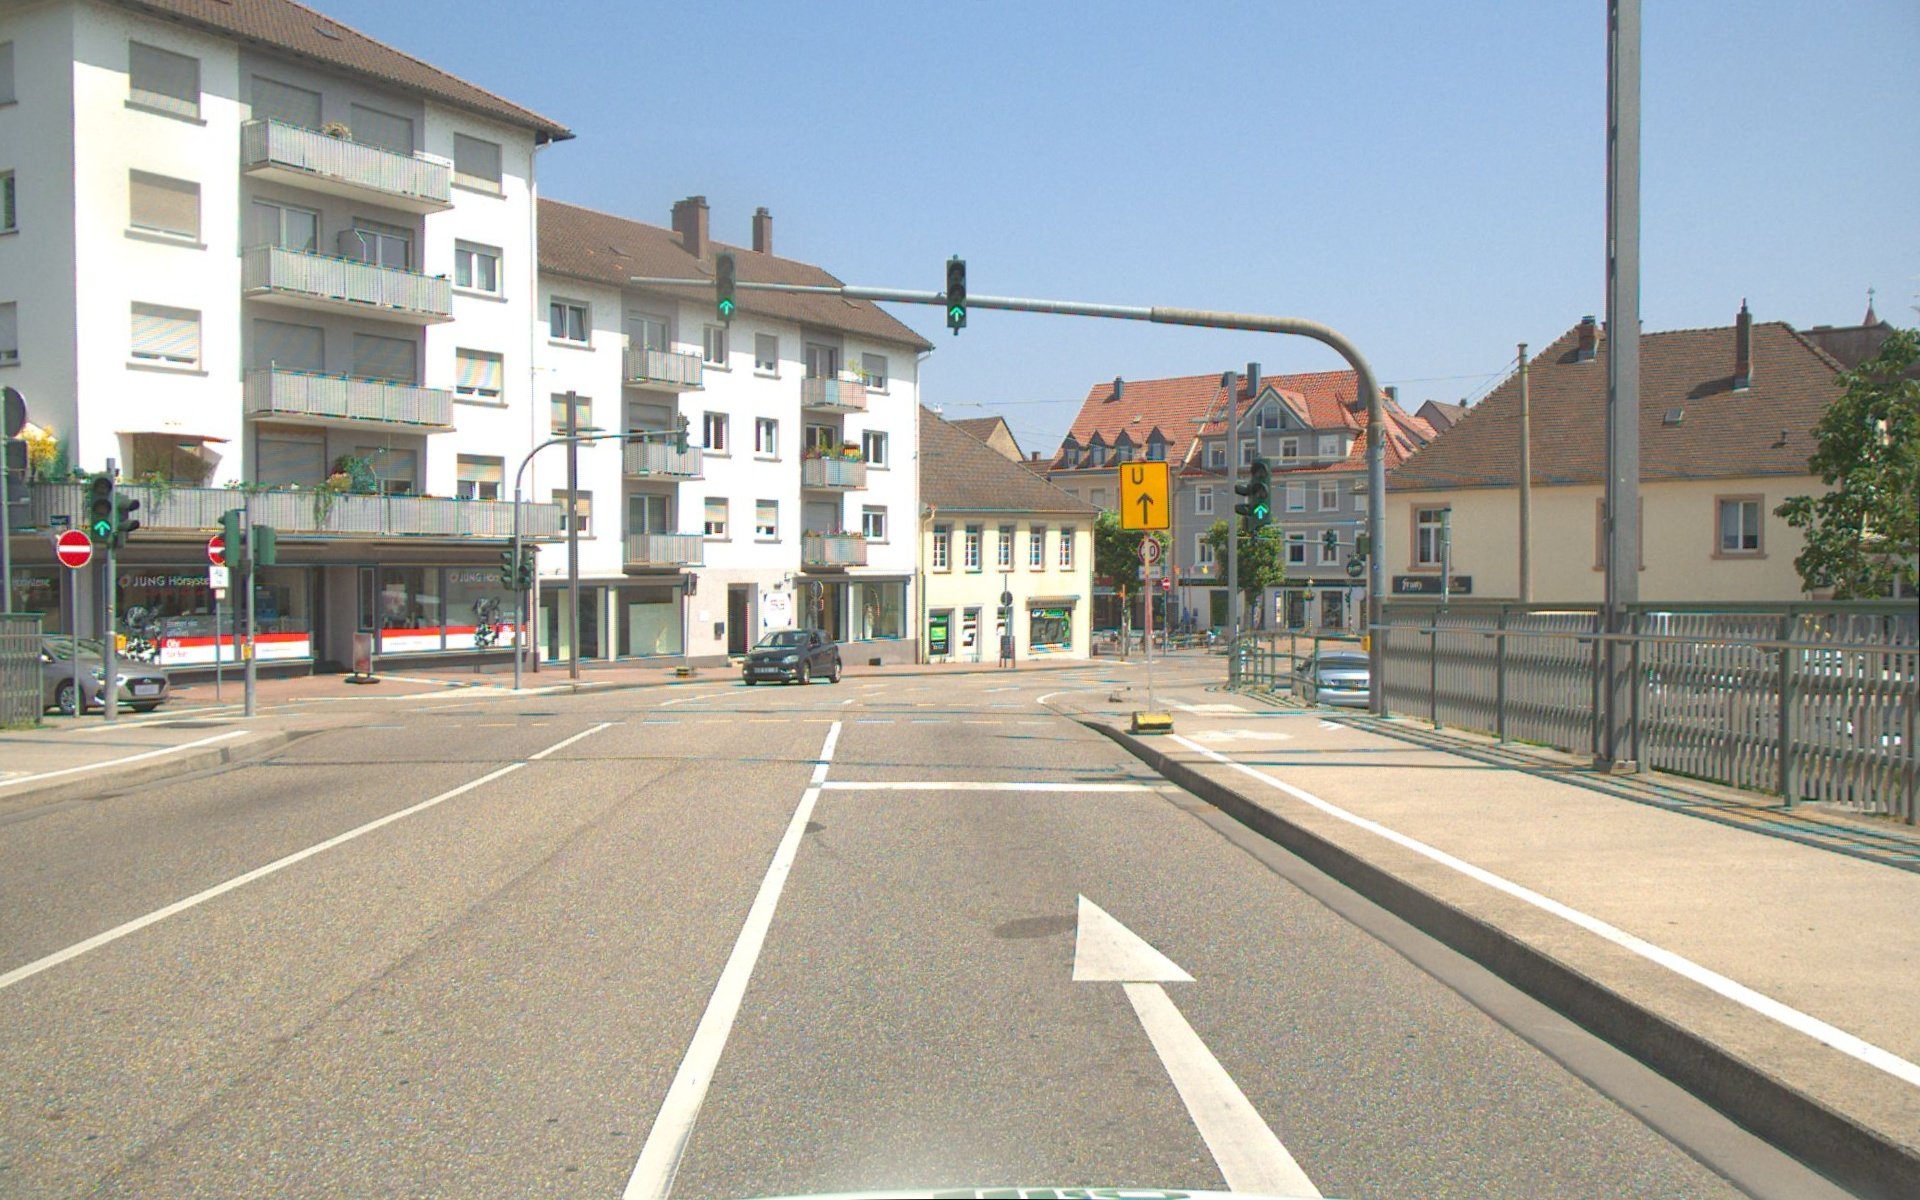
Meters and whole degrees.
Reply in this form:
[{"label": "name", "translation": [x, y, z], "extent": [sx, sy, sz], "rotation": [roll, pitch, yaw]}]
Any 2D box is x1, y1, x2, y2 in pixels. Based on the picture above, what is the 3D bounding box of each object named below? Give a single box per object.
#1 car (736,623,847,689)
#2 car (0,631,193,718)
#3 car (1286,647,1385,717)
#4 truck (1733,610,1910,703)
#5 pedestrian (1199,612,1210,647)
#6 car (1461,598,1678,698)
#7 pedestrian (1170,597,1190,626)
[{"label": "car", "translation": [-4.296, 1.416, 42.772], "extent": [1.640, 1.514, 3.958], "rotation": [-2, 0, 13]}, {"label": "car", "translation": [-16.525, 1.367, 30.448], "extent": [4.278, 1.445, 1.703], "rotation": [-2, 0, 16]}, {"label": "car", "translation": [8.994, 1.928, 39.880], "extent": [1.715, 1.497, 4.255], "rotation": [1, -1, 4]}, {"label": "truck", "translation": [22.763, 1.439, 43.743], "extent": [3.984, 2.253, 1.809], "rotation": [2, 1, 33]}, {"label": "pedestrian", "translation": [14.620, 1.748, 99.082], "extent": [0.597, 2.049, 0.555], "rotation": [1, 1, 10]}, {"label": "car", "translation": [17.462, 1.306, 47.464], "extent": [5.513, 2.674, 2.237], "rotation": [1, 0, 32]}, {"label": "pedestrian", "translation": [15.319, 0.795, 115.375], "extent": [1.012, 2.015, 1.017], "rotation": [1, 1, 33]}]
